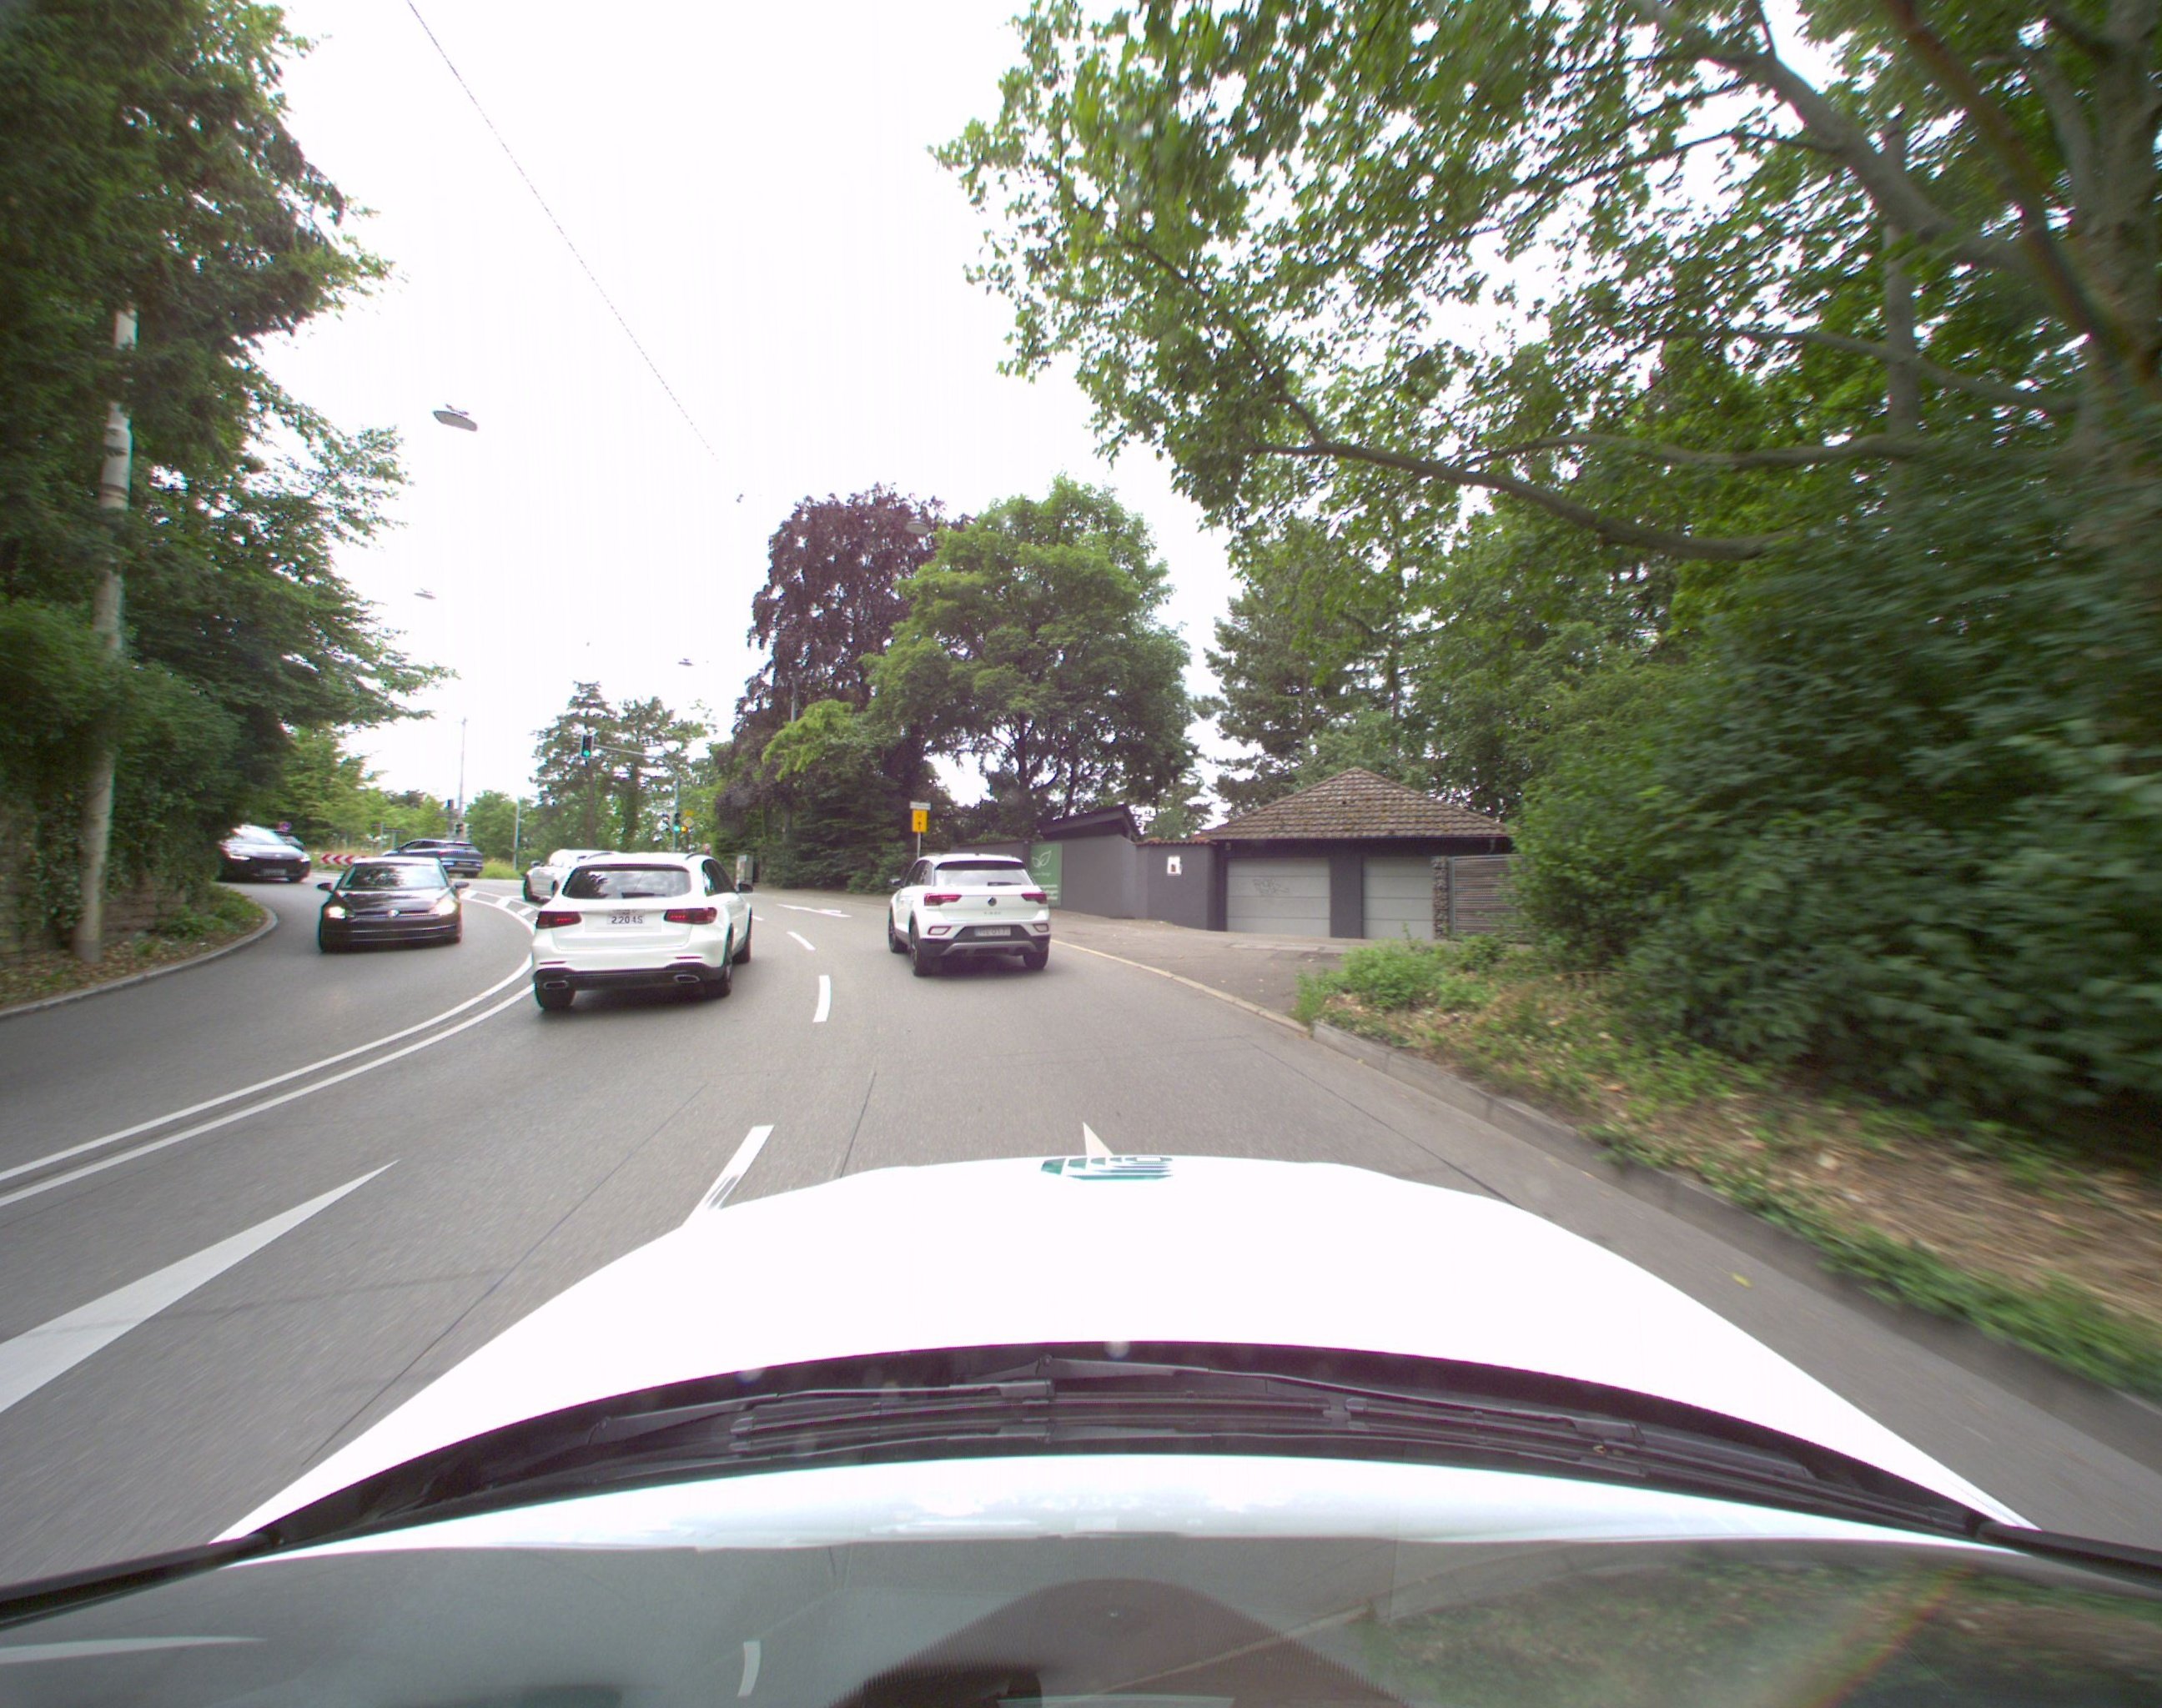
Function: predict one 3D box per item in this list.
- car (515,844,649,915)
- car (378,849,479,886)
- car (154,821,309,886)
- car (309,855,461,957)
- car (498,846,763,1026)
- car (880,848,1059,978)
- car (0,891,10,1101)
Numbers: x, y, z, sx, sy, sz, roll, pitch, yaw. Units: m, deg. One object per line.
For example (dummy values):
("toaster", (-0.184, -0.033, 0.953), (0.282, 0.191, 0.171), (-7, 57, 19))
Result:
("car", (-13.087, 0.572, 21.216), (4.718, 1.534, 1.882), (3, 2, 45))
("car", (-27.041, 0.522, 33.735), (3.808, 1.420, 1.643), (1, 0, 24))
("car", (-24.086, -0.059, 23.100), (4.015, 1.573, 1.617), (3, 2, 21))
("car", (-12.276, 0.800, 14.482), (1.817, 1.443, 3.954), (-1, 2, -40))
("car", (-5.236, 0.749, 10.201), (1.863, 1.605, 4.645), (-2, 2, -16))
("car", (-1.834, 0.702, 12.032), (1.760, 1.553, 4.308), (0, 0, -20))
("car", (-7.808, 1.005, 3.355), (1.659, 1.440, 4.278), (-2, 0, -12))
